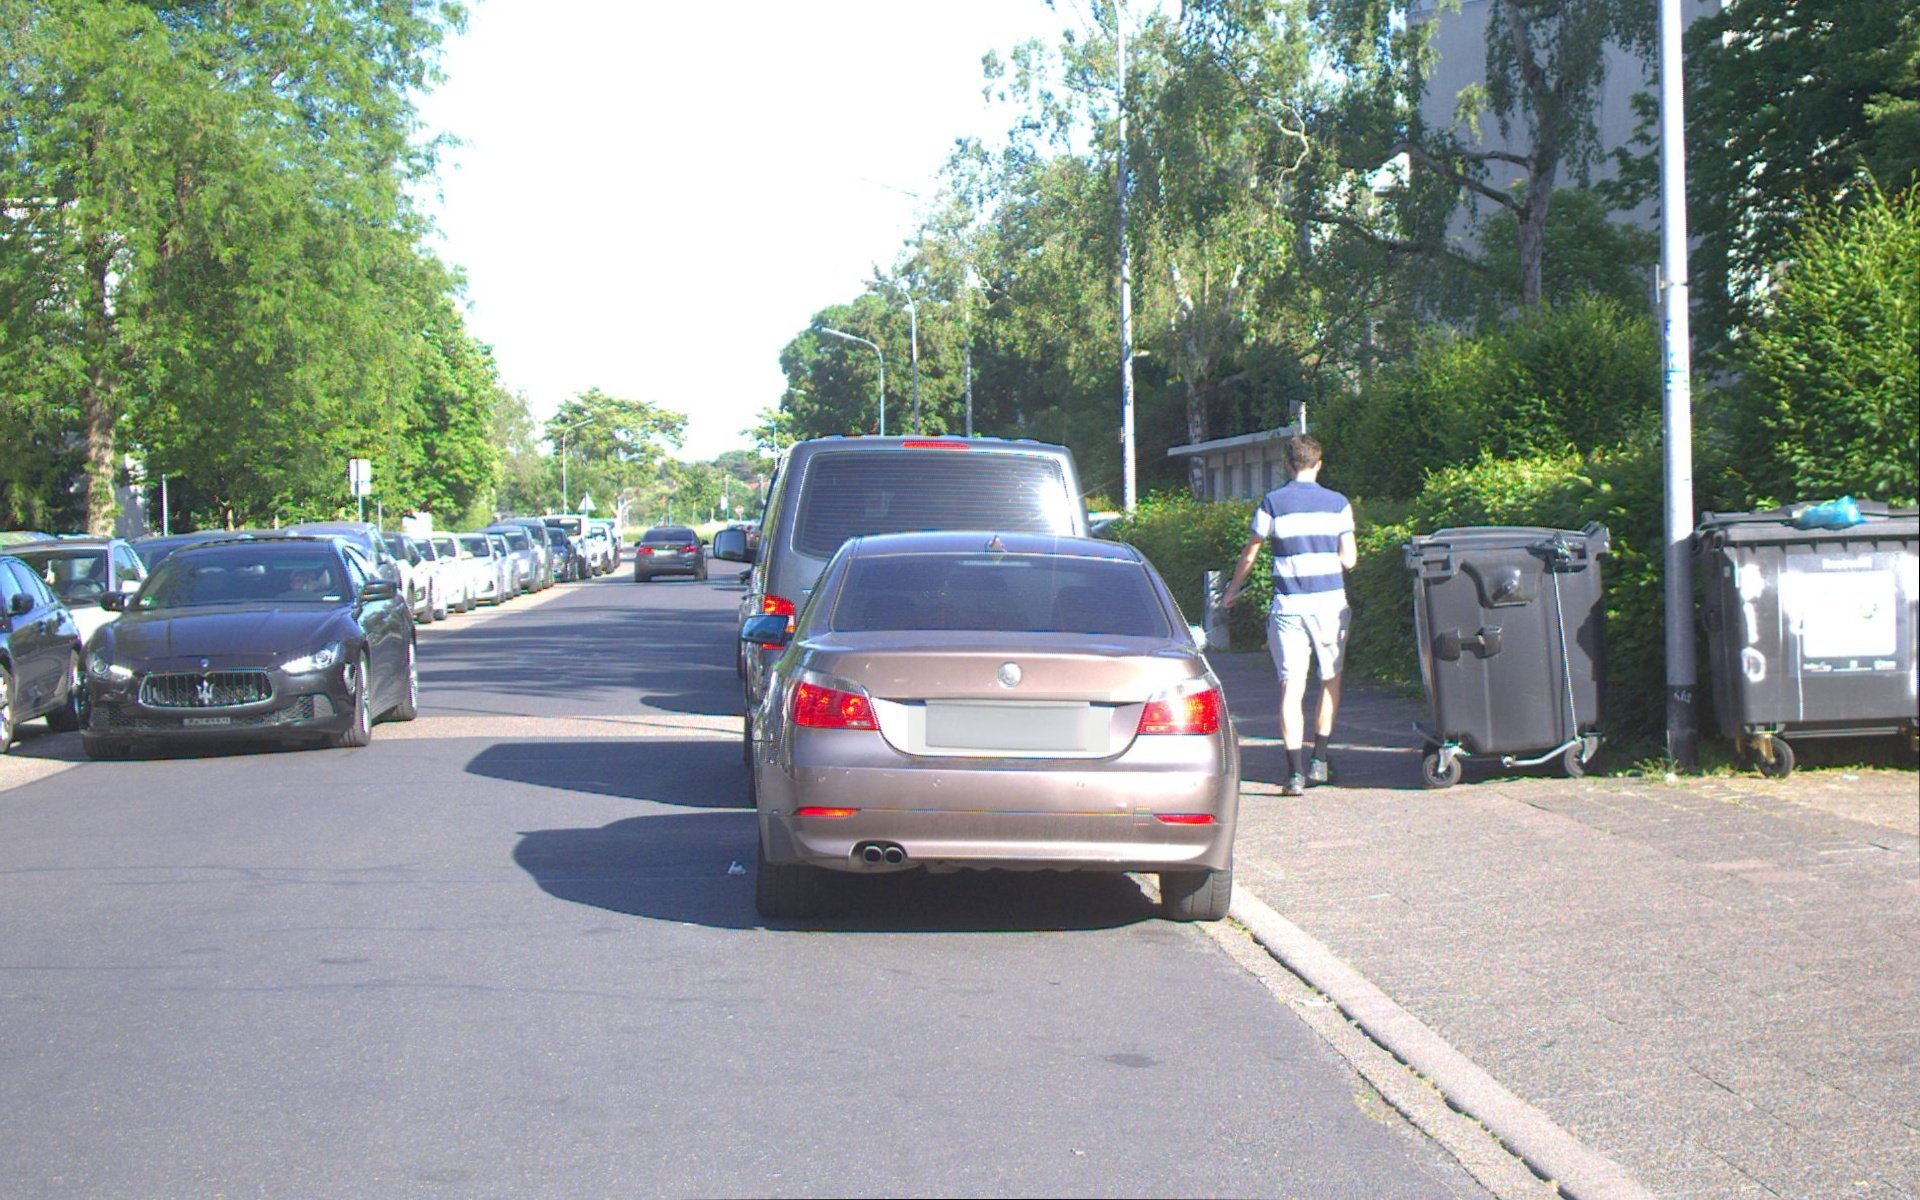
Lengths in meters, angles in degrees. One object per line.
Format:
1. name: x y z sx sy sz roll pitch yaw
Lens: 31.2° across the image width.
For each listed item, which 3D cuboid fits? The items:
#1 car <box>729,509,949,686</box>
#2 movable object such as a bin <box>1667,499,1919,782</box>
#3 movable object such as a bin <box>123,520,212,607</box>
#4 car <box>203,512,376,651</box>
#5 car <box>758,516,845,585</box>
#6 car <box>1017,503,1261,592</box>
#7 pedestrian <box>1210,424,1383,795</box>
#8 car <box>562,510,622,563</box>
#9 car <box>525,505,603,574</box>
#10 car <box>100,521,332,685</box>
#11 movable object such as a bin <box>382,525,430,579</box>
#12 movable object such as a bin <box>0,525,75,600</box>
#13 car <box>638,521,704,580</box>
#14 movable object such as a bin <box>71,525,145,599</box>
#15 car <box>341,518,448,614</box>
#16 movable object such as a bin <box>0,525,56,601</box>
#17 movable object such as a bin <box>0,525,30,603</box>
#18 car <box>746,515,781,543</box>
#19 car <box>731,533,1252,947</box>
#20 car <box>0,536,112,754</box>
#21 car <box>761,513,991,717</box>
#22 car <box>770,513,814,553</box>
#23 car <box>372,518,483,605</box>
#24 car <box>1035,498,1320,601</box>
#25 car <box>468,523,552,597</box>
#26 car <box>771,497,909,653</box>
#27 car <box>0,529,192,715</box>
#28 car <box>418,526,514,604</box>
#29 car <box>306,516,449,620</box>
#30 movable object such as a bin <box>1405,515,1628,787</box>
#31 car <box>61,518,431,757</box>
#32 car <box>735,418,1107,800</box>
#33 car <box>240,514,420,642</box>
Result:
1. car: -1.204 -0.074 32.298 1.731 1.484 4.502 -2 2 -6
2. movable object such as a bin: 4.300 0.180 17.327 1.223 1.360 1.133 -1 1 0
3. movable object such as a bin: -12.981 -0.604 56.357 1.136 1.378 1.442 1 1 -2
4. car: -8.301 -0.266 42.797 1.635 1.600 3.536 -2 1 -4
5. car: -3.615 -1.143 77.845 1.753 1.508 4.105 1 1 -6
6. car: 3.362 -1.004 65.179 4.414 1.508 1.829 -2 1 -3
7. pedestrian: 1.776 0.040 18.251 0.703 1.882 0.872 -3 1 -2
8. car: -12.454 -2.163 116.539 1.746 1.726 4.006 -2 1 -3
9. car: -11.809 -1.821 102.820 1.914 1.955 5.088 -2 1 -3
10. car: -8.092 -0.018 37.689 1.754 1.600 3.969 -3 2 -2
11. movable object such as a bin: -14.938 -1.297 92.765 1.101 1.416 1.361 1 1 -3
12. movable object such as a bin: -18.057 -0.743 67.153 1.177 1.416 1.462 1 1 -1
13. car: -7.691 -1.328 91.240 1.679 1.508 4.105 1 1 -6
14. movable object such as a bin: -16.799 -0.759 67.795 1.134 1.416 1.361 1 1 -2
15. car: -9.531 -0.590 57.949 1.662 1.508 3.539 -2 1 -9
16. movable object such as a bin: -18.036 -0.716 65.632 1.177 1.416 1.462 1 1 -1
17. movable object such as a bin: -18.077 -0.682 63.930 1.177 1.416 1.462 1 1 -1
18. car: -11.163 -4.028 195.064 1.795 1.543 3.952 0 1 -6
19. car: 0.042 0.438 14.205 1.801 1.414 4.636 0 1 -2
20. car: -7.675 0.316 25.776 1.754 1.475 4.538 -3 2 -4
21. car: -0.726 0.066 27.143 1.622 1.484 4.037 0 1 -4
22. car: -7.625 -3.039 156.166 1.795 1.780 3.952 0 1 -6
23. car: -10.036 -0.751 64.967 1.686 1.529 3.891 -2 1 -4
24. car: 3.576 -0.851 56.972 4.513 1.508 1.829 -2 1 -2
25. car: -10.611 -0.961 81.231 1.709 1.595 3.987 -3 2 -5
26. car: -1.395 -0.306 39.361 1.488 1.712 2.583 0 1 -4
27. car: -8.130 0.167 31.865 1.444 1.568 3.143 -3 2 -4
28. car: -10.116 -0.750 70.638 1.686 1.500 3.819 -2 1 -5
29. car: -9.072 -0.526 53.791 1.662 1.508 3.946 -2 1 -2
30. movable object such as a bin: 2.918 0.247 18.177 1.026 1.305 1.386 -4 1 7
31. car: -4.959 0.184 24.482 1.910 1.471 4.571 -2 2 -4
32. car: -0.347 -0.006 19.770 1.852 1.927 4.706 0 1 -4
33. car: -8.745 -0.344 48.043 1.903 1.634 4.350 -2 1 -3
